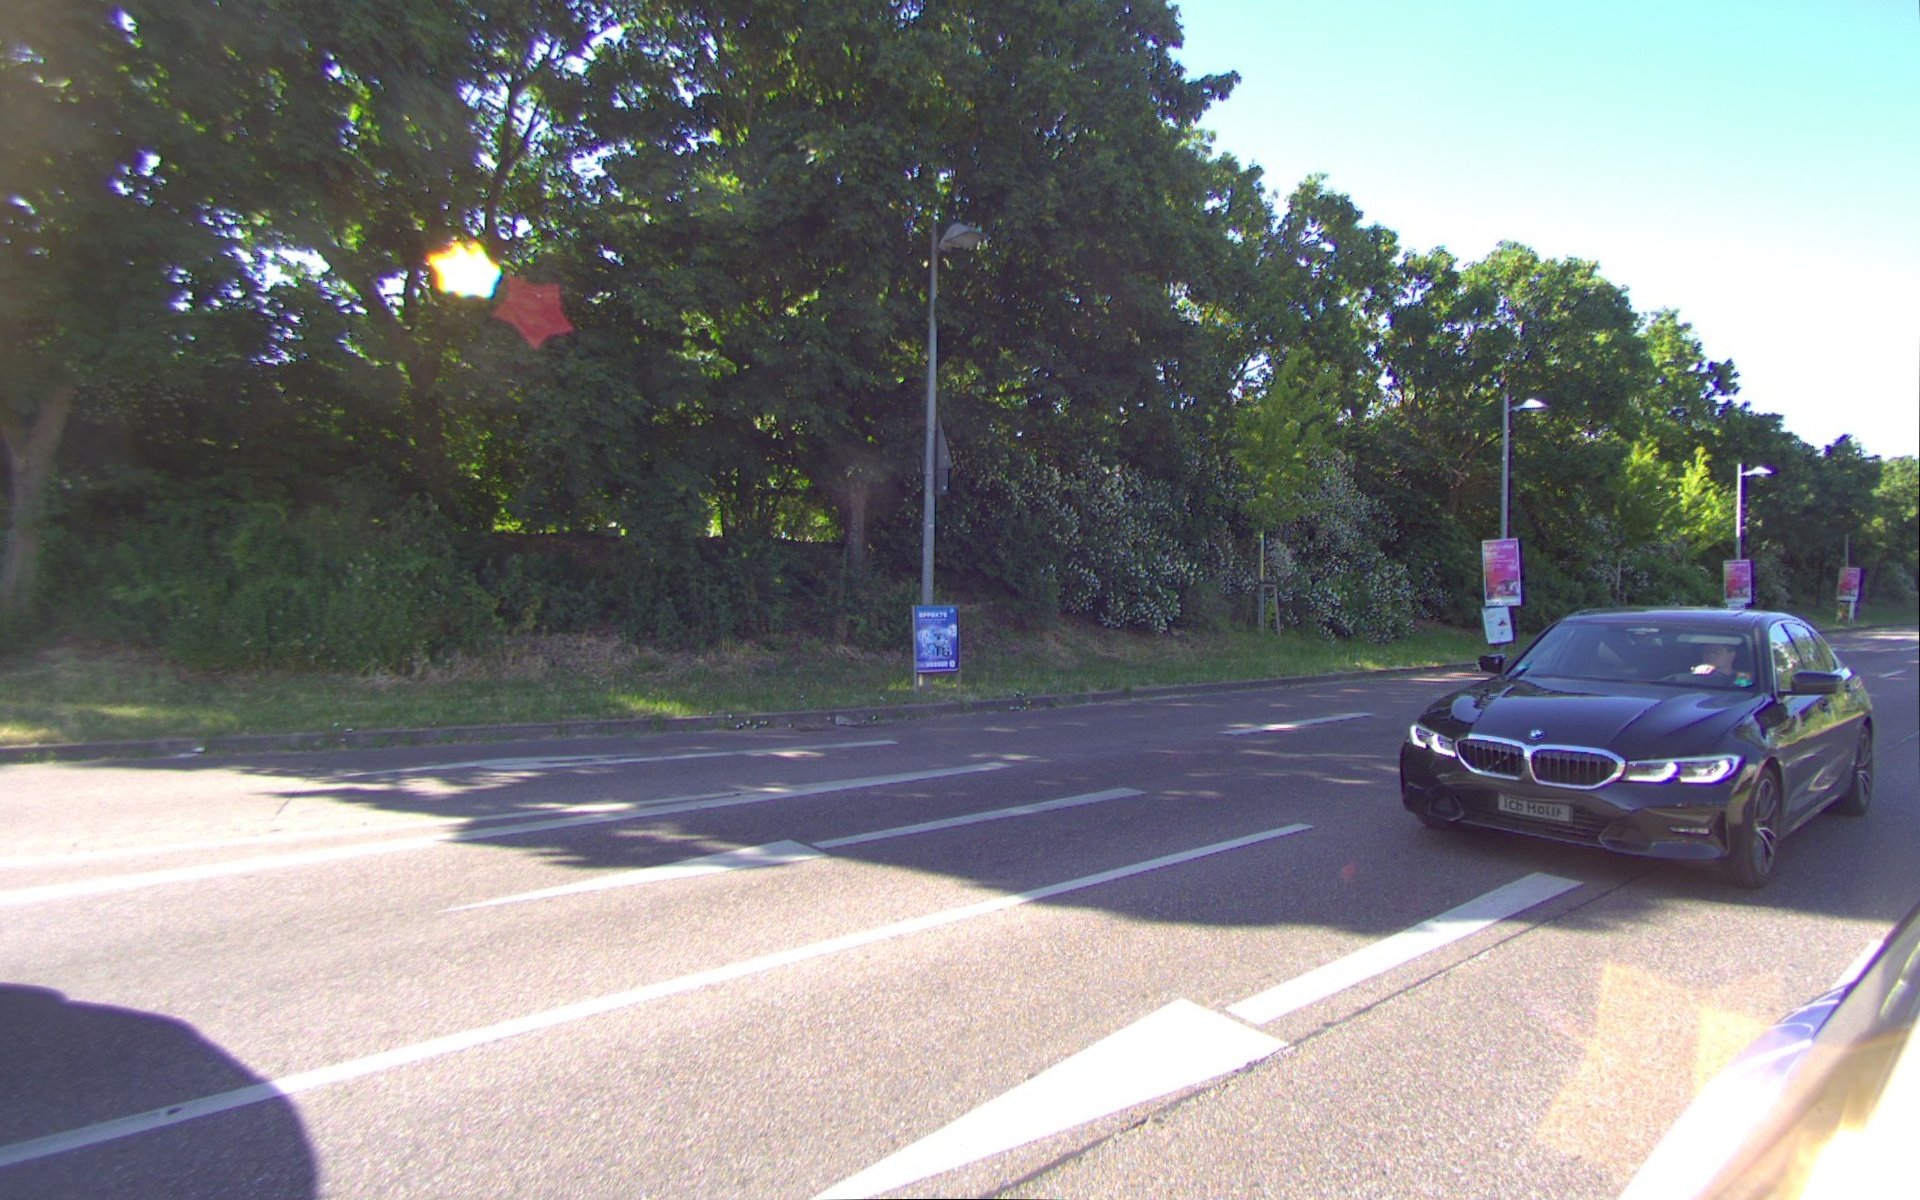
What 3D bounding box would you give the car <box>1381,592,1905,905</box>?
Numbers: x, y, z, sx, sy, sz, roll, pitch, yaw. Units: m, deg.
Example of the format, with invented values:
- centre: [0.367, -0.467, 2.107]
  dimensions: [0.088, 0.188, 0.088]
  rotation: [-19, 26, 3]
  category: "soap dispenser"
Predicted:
- centre: [4.709, 0.674, 6.741]
  dimensions: [4.142, 1.426, 1.830]
  rotation: [-1, 1, -40]
  category: "car"
